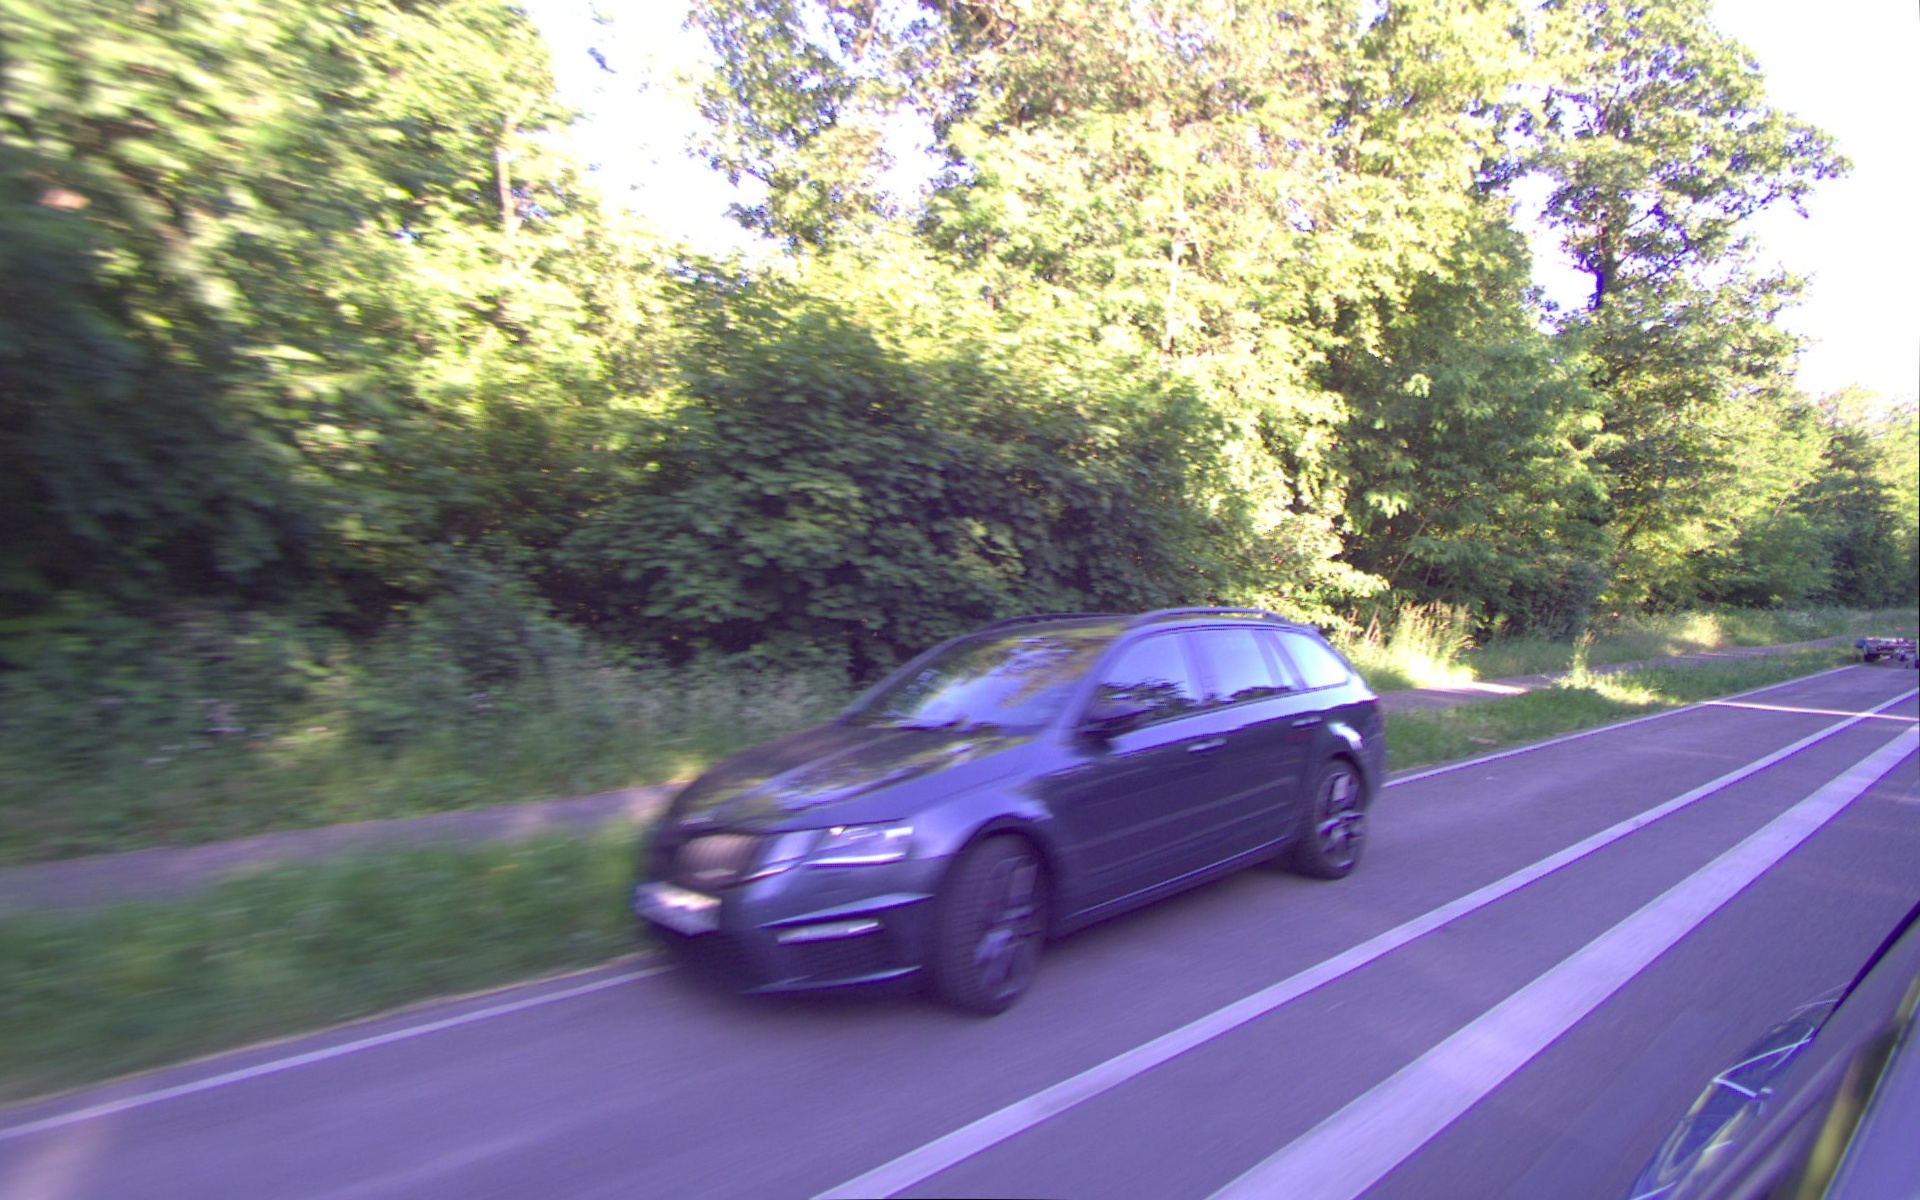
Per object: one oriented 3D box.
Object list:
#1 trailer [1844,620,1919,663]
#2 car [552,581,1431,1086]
[{"bbox_3d":[23.771,0.994,24.805,5.561,0.808,2.437,-1,1,-41],"label":"trailer"},{"bbox_3d":[0.541,0.689,5.146,4.520,1.439,1.835,0,-2,-44],"label":"car"}]
